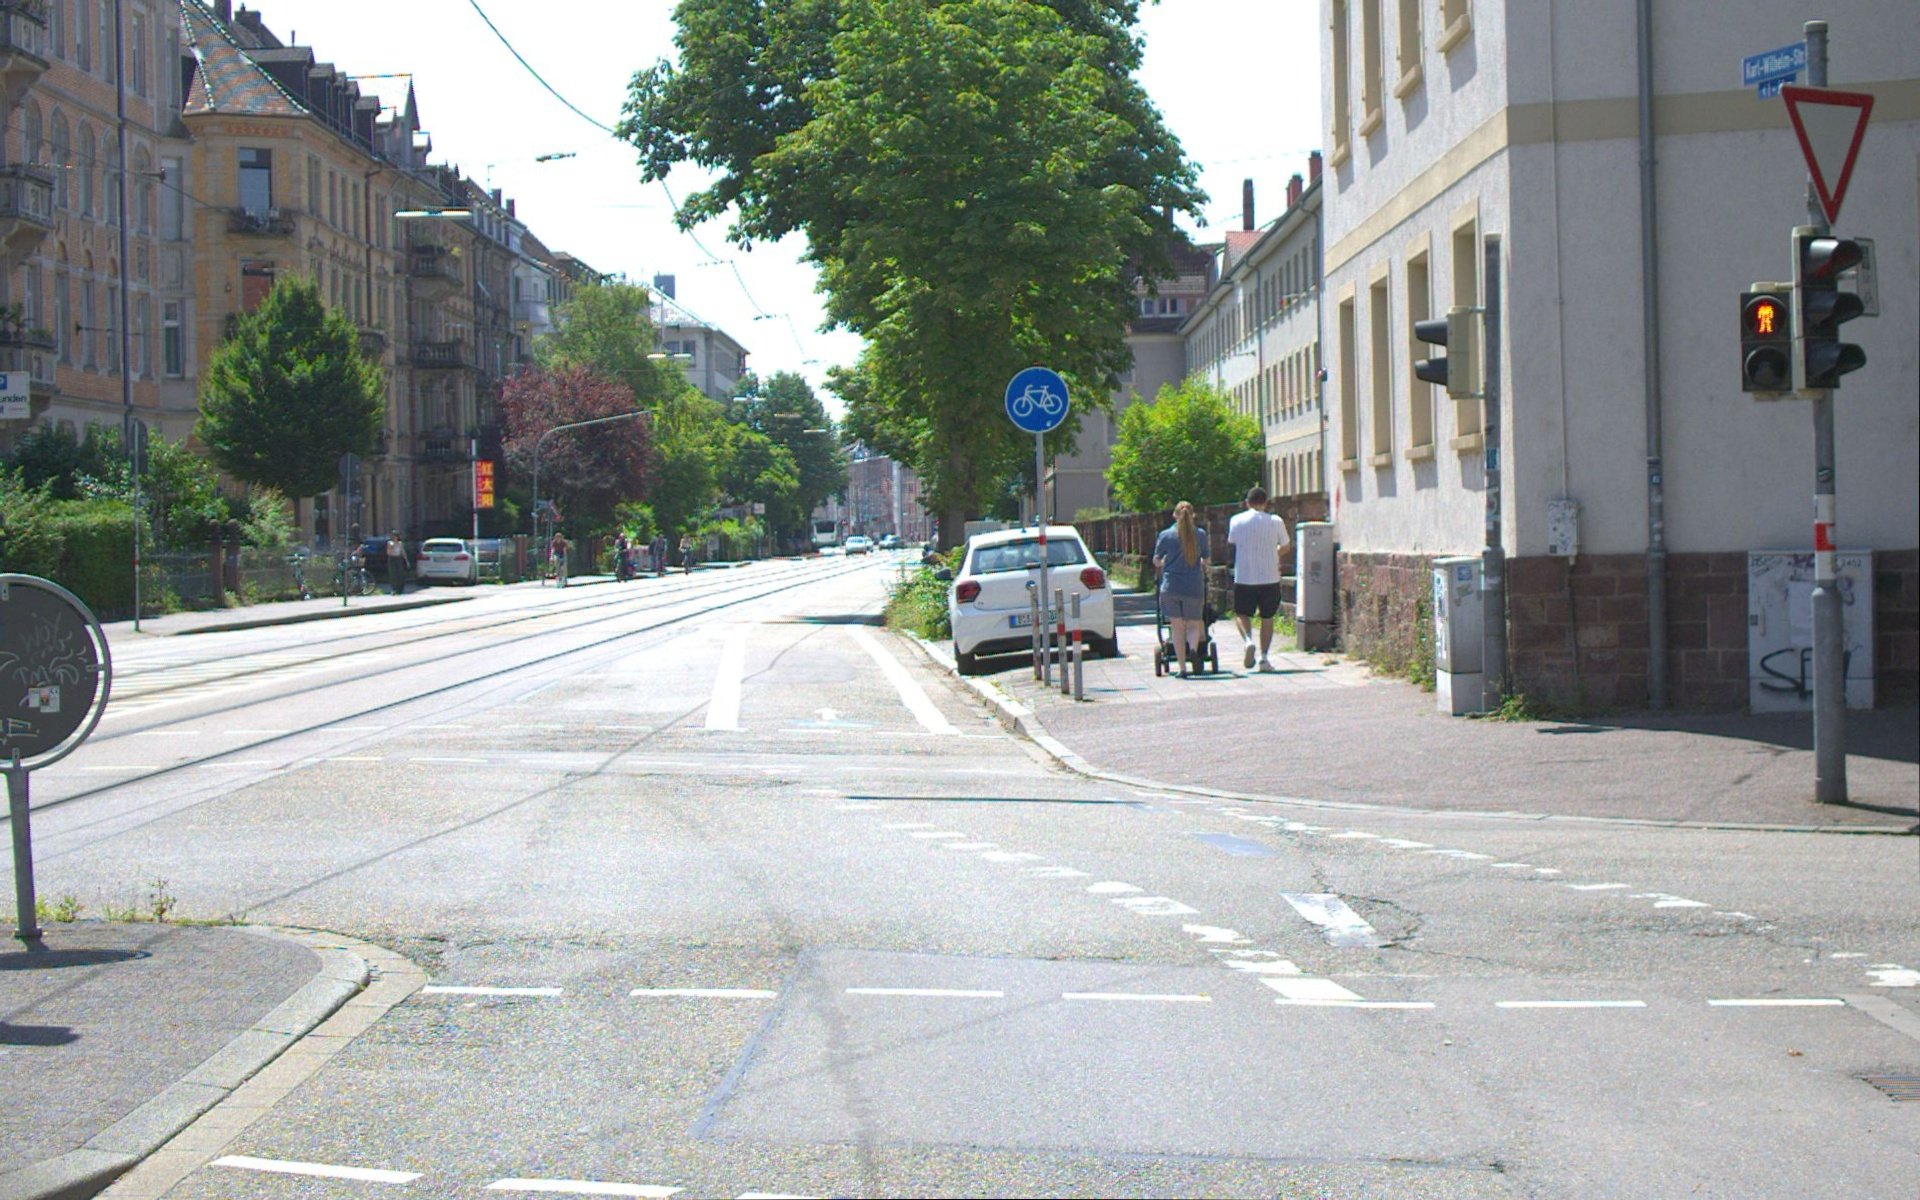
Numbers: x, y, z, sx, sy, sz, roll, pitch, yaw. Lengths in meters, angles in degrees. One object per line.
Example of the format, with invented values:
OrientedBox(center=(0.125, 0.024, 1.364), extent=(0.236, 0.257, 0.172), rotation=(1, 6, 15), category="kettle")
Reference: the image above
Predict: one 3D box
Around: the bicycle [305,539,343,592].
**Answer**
OrientedBox(center=(-15.659, -0.852, 84.678), extent=(0.677, 1.274, 1.919), rotation=(-1, 1, -3), category="bicycle")

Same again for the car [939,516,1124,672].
OrientedBox(center=(0.722, -0.085, 37.324), extent=(1.815, 1.511, 4.000), rotation=(-3, 1, -1), category="car")

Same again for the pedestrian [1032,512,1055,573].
OrientedBox(center=(2.146, -1.475, 88.504), extent=(0.521, 1.557, 0.573), rotation=(-1, 1, -1), category="pedestrian")

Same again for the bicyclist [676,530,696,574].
OrientedBox(center=(-11.524, -2.019, 144.706), extent=(0.727, 1.812, 1.079), rotation=(1, 0, 1), category="bicyclist")

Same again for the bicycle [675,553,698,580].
OrientedBox(center=(-11.521, -1.390, 144.712), extent=(0.727, 1.119, 2.085), rotation=(1, 1, 1), category="bicycle")

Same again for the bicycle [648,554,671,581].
OrientedBox(center=(-12.641, -1.384, 144.678), extent=(0.727, 1.119, 2.085), rotation=(1, 1, 1), category="bicycle")

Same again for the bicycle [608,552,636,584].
OrientedBox(center=(-11.959, -1.127, 121.805), extent=(0.727, 1.119, 2.085), rotation=(1, 1, 1), category="bicycle")

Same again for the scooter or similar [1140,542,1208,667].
OrientedBox(center=(2.030, 0.037, 32.501), extent=(0.557, 1.151, 1.205), rotation=(1, 0, 7), category="scooter or similar")

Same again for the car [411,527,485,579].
OrientedBox(center=(-17.187, -1.581, 115.575), extent=(1.919, 1.709, 4.000), rotation=(1, 1, -1), category="car")

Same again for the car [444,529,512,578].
OrientedBox(center=(-17.330, -1.666, 123.839), extent=(1.919, 1.709, 4.000), rotation=(1, 1, -1), category="car")

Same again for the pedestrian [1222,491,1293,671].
OrientedBox(center=(2.750, -0.178, 31.815), extent=(0.556, 1.640, 0.677), rotation=(1, 0, -1), category="pedestrian")

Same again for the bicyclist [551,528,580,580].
OrientedBox(center=(-12.444, -1.457, 108.417), extent=(0.727, 1.623, 1.079), rotation=(1, 0, 1), category="bicyclist")

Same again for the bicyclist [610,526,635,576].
OrientedBox(center=(-11.951, -1.747, 121.829), extent=(0.727, 1.762, 1.079), rotation=(1, 0, 1), category="bicyclist")

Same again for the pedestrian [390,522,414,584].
OrientedBox(center=(-14.978, -1.273, 92.299), extent=(0.521, 1.653, 0.529), rotation=(-1, 1, -1), category="pedestrian")

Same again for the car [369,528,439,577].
OrientedBox(center=(-20.016, -1.704, 123.912), extent=(1.919, 1.709, 4.000), rotation=(1, 1, -1), category="car")

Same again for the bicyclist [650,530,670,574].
OrientedBox(center=(-12.630, -2.022, 144.686), extent=(0.727, 1.812, 1.079), rotation=(1, 0, 1), category="bicyclist")

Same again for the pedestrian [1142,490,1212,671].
OrientedBox(center=(1.989, -0.183, 31.574), extent=(0.556, 1.640, 0.677), rotation=(1, 0, -1), category="pedestrian")

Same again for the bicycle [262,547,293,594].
OrientedBox(center=(-15.902, -0.702, 80.035), extent=(0.677, 1.061, 1.919), rotation=(-1, 1, -11), category="bicycle")
